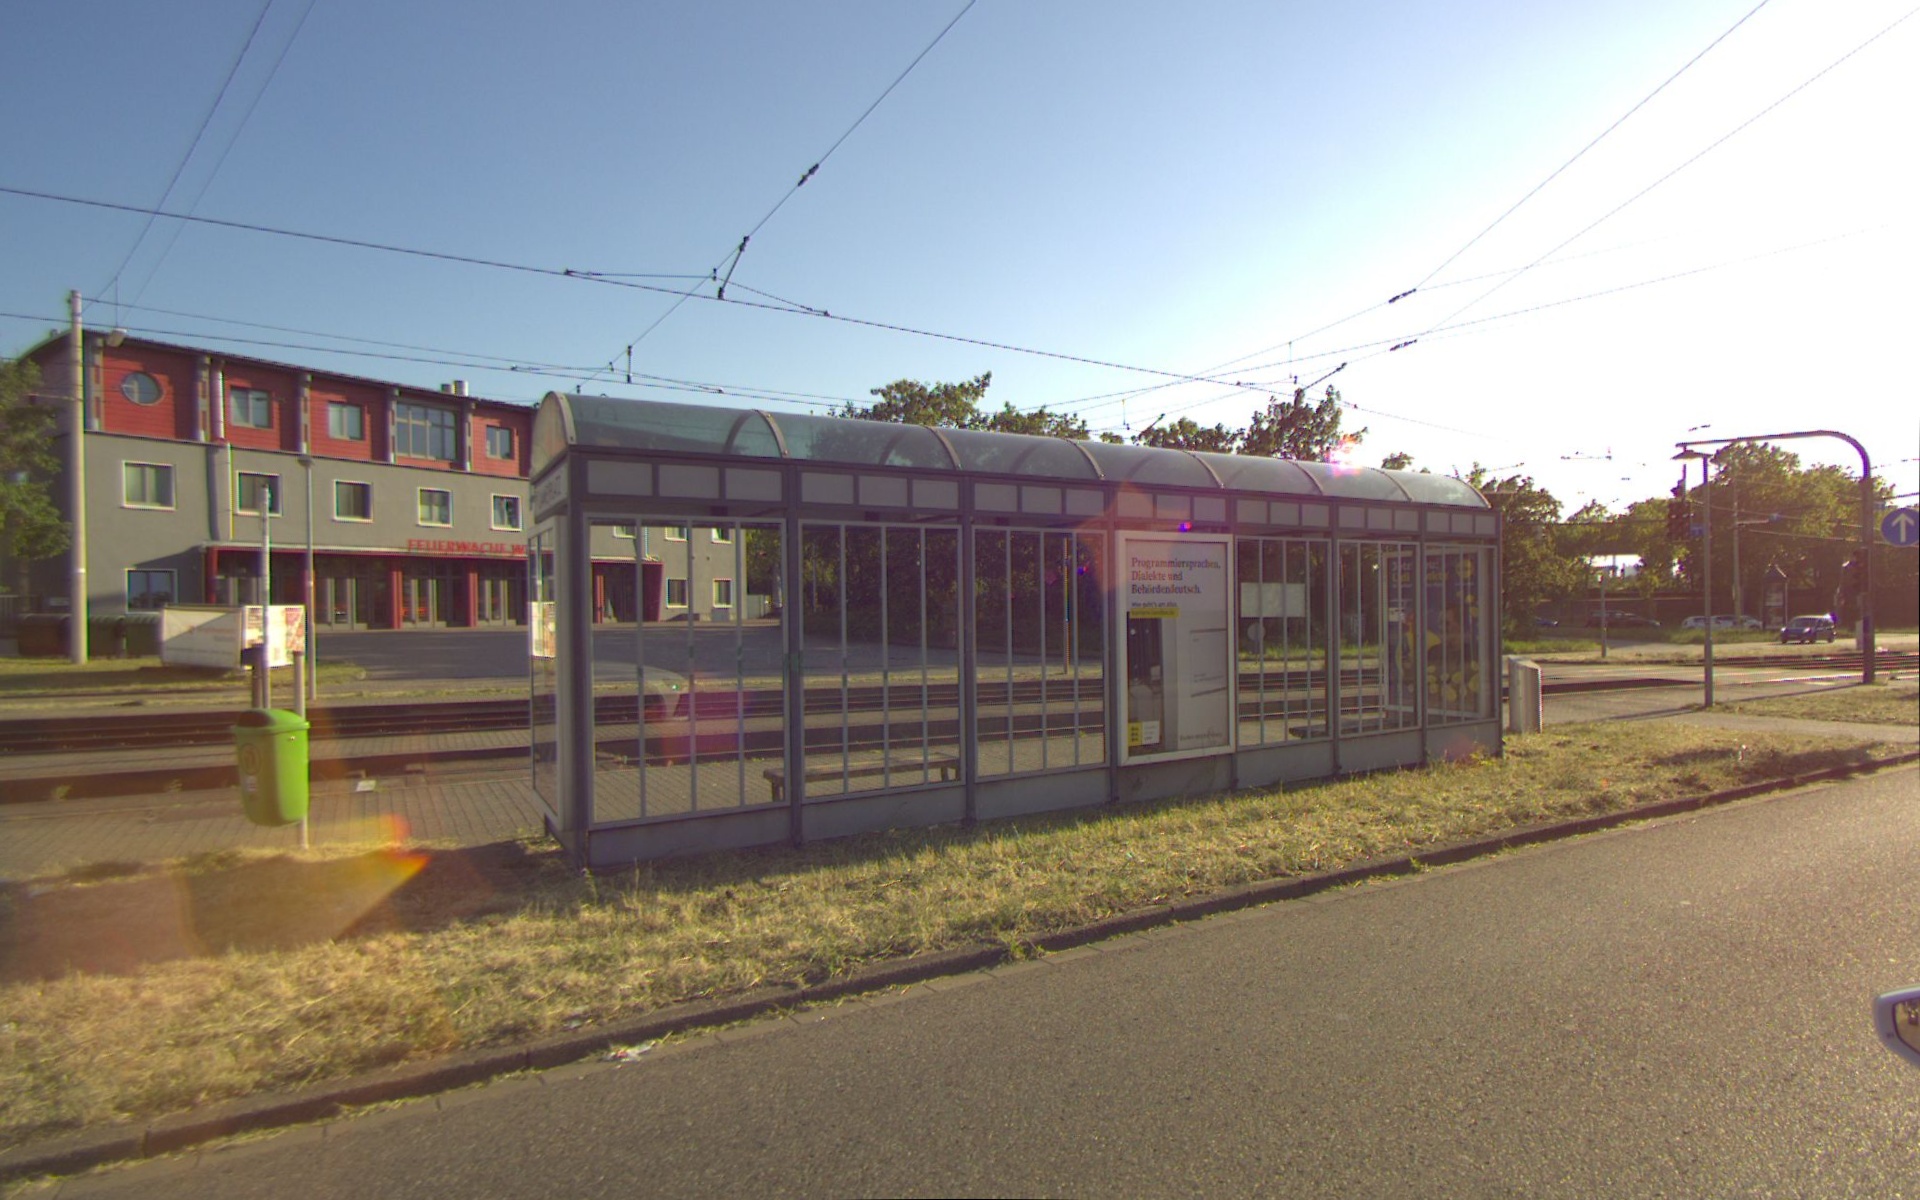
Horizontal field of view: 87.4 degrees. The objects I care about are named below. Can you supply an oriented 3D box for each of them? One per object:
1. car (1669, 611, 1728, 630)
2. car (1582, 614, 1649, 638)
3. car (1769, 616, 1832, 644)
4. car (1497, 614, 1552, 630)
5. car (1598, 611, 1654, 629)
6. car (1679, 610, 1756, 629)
[{"bbox_3d":[63.043,1.729,85.814,3.931,1.596,1.689,0,0,33],"label":"car"},{"bbox_3d":[57.753,2.297,88.615,4.855,2.017,2.034,0,0,29],"label":"car"},{"bbox_3d":[56.105,1.977,67.043,4.207,1.811,1.925,0,-1,-30],"label":"car"},{"bbox_3d":[53.781,2.089,95.745,4.543,1.478,1.690,0,0,30],"label":"car"},{"bbox_3d":[60.642,1.778,91.477,4.175,1.596,1.689,0,0,32],"label":"car"},{"bbox_3d":[66.163,1.699,87.836,5.279,1.596,1.735,0,0,36],"label":"car"}]
